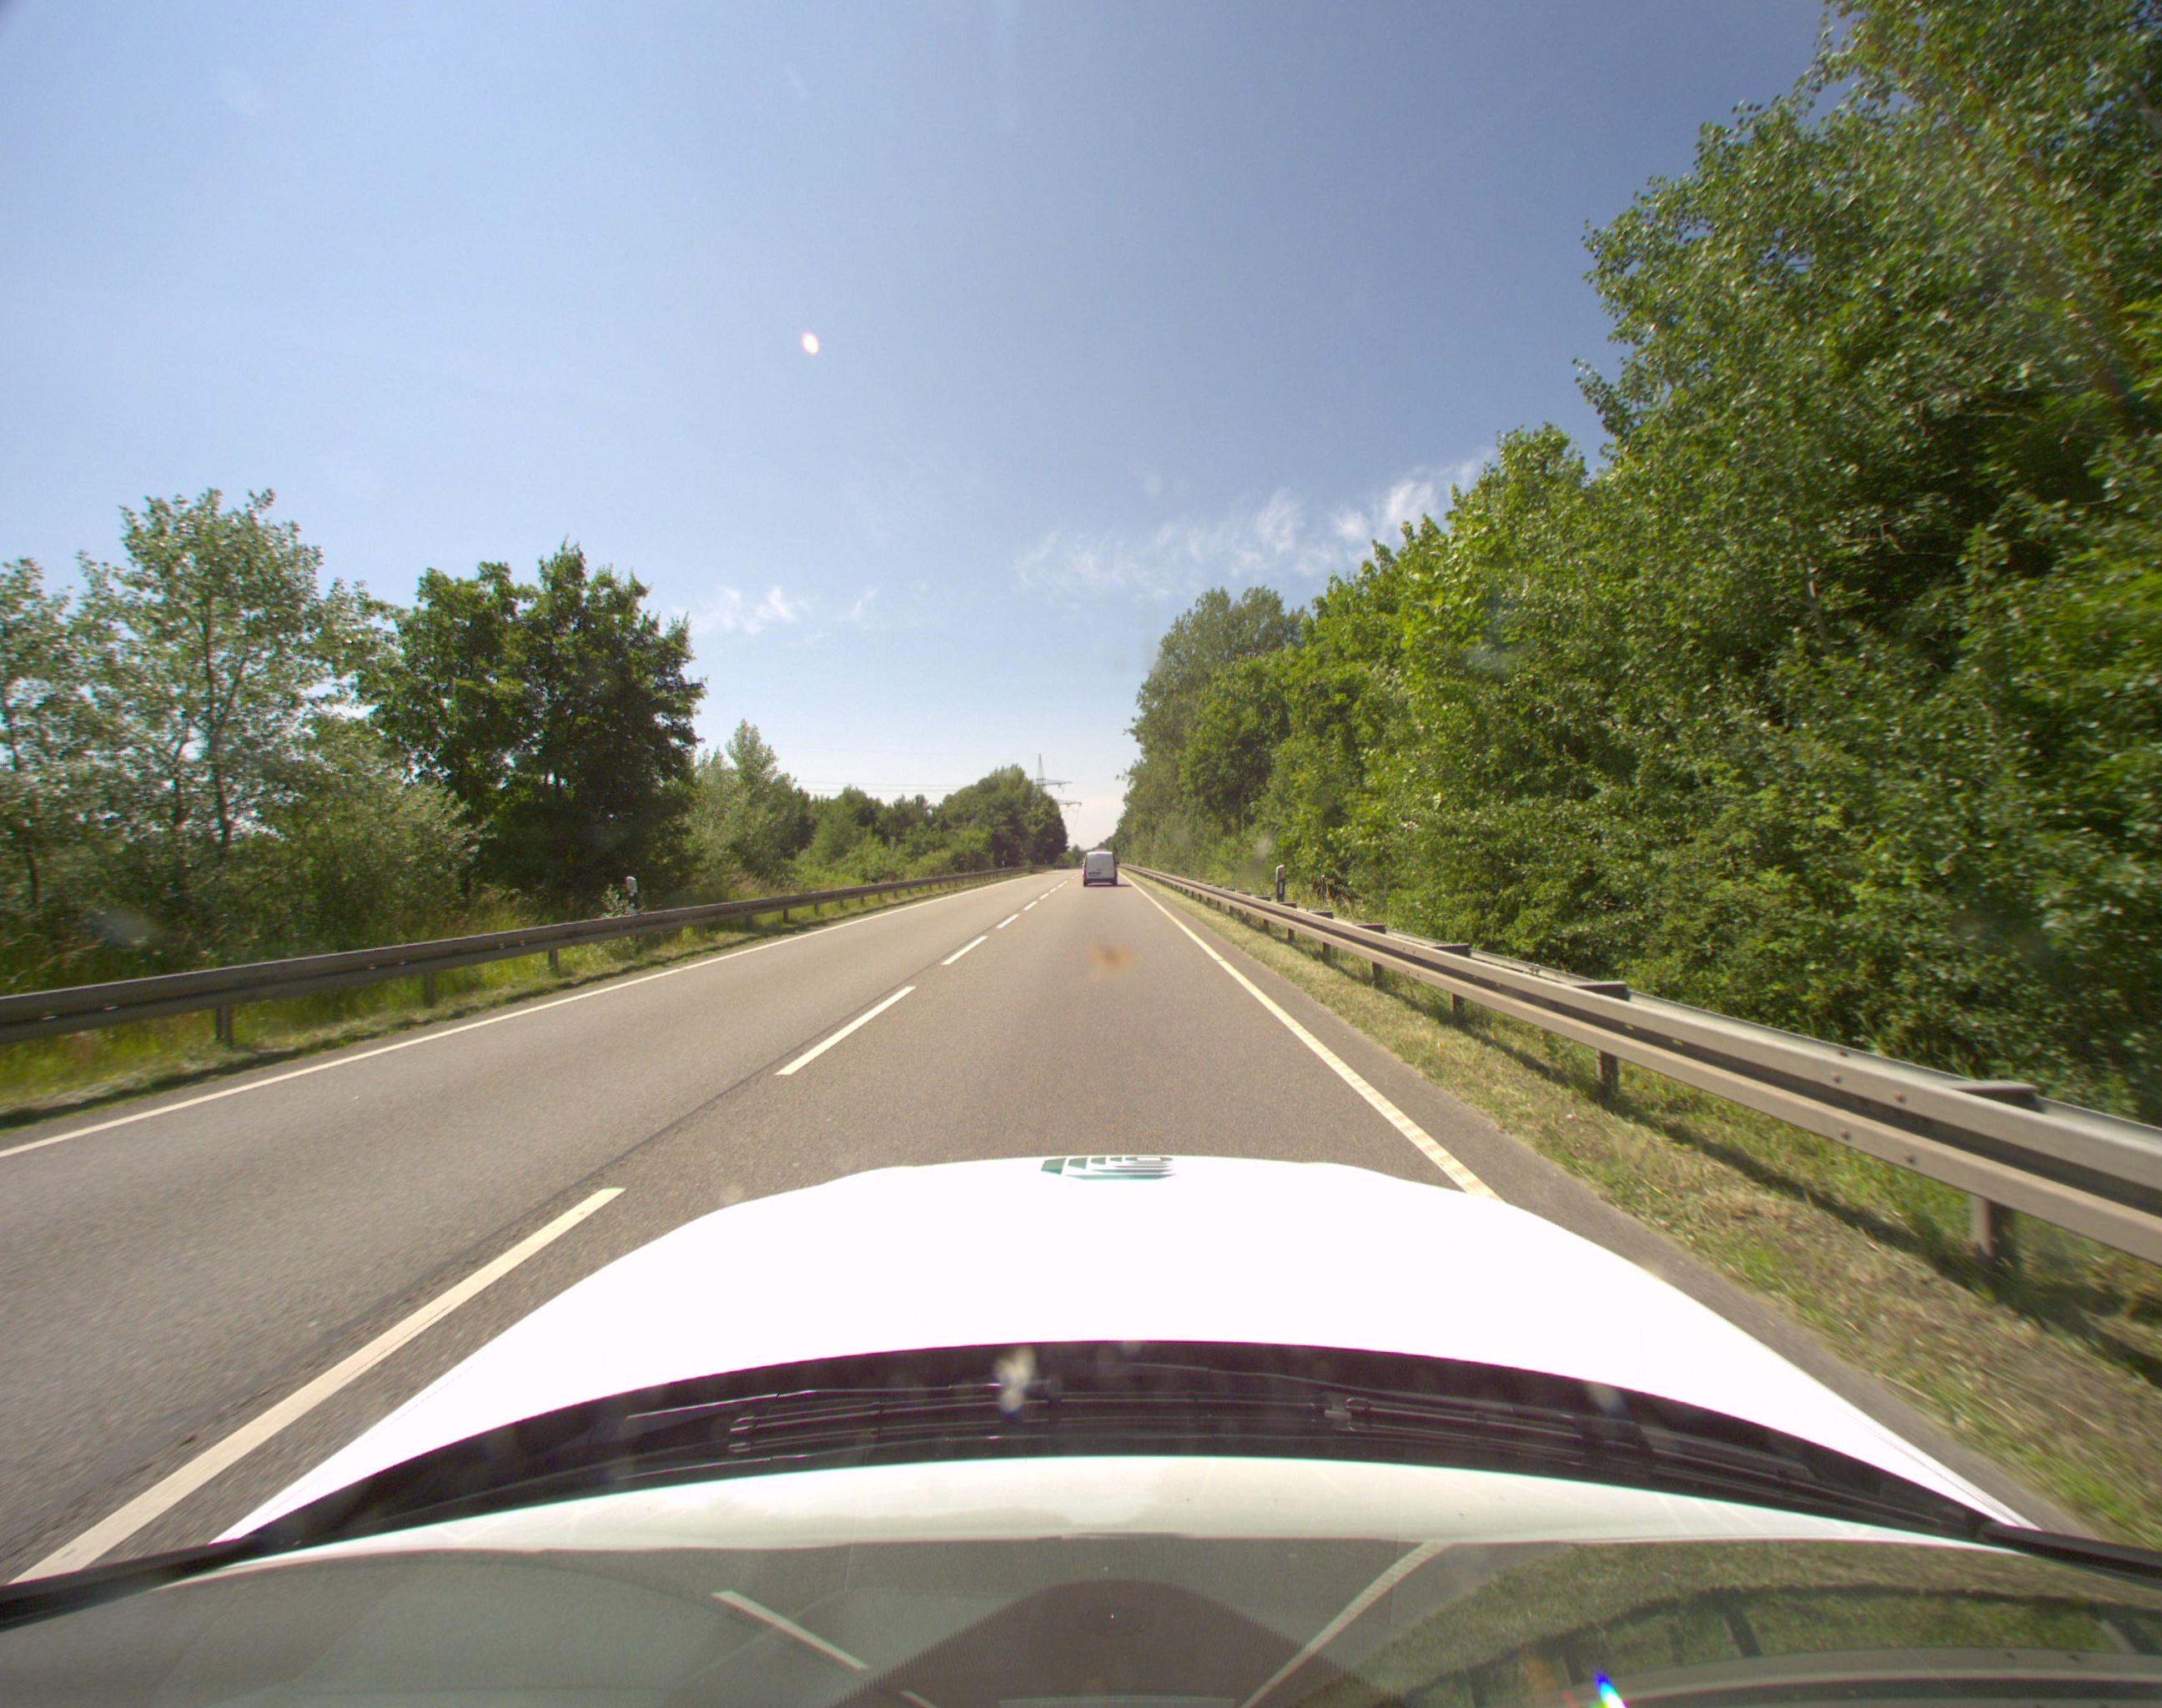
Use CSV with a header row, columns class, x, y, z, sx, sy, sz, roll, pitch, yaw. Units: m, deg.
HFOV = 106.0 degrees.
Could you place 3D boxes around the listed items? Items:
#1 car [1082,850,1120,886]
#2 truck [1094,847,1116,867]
class,x,y,z,sx,sy,sz,roll,pitch,yaw
car,1.037,0.702,42.540,1.868,1.741,4.001,-1,0,1
truck,4.073,0.472,140.335,3.286,3.172,14.402,1,0,0
